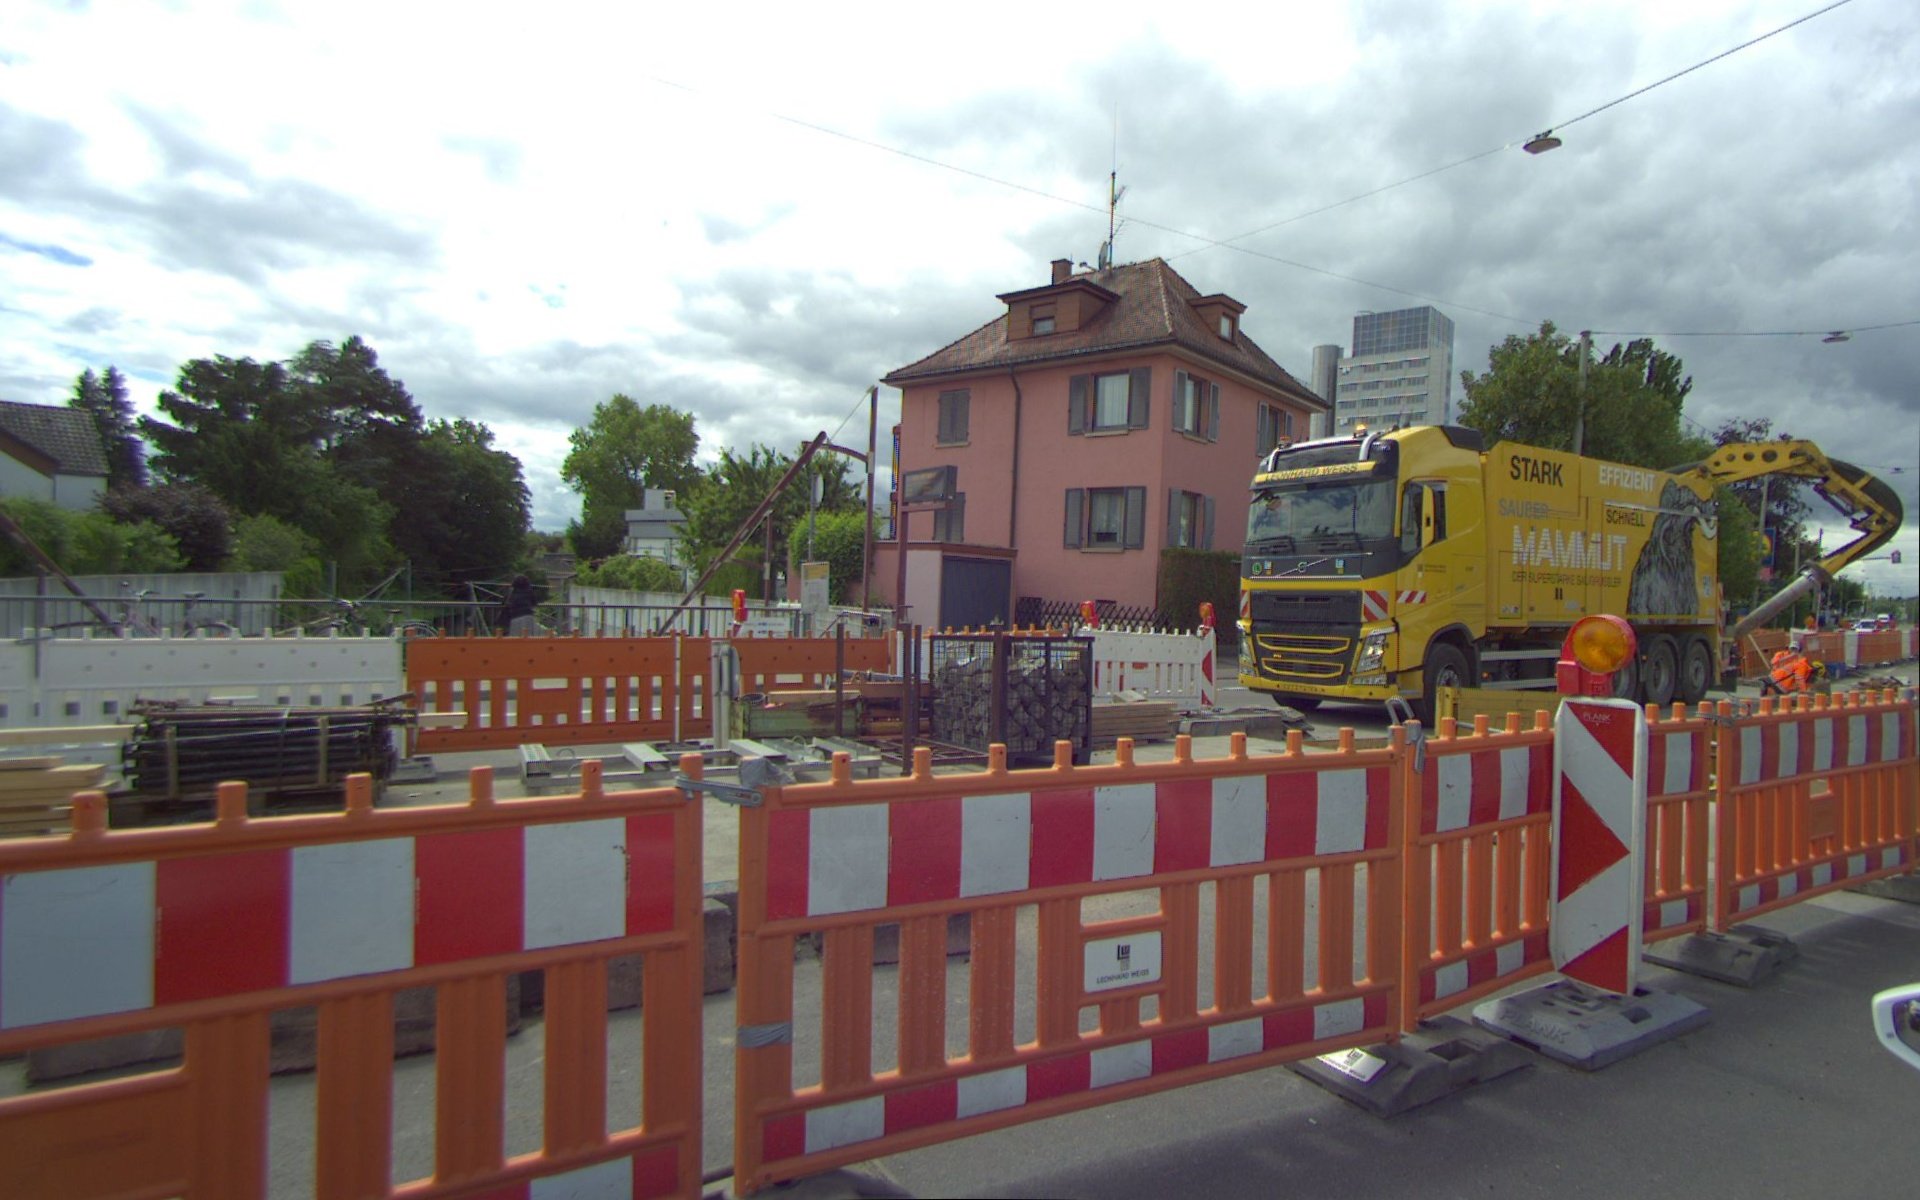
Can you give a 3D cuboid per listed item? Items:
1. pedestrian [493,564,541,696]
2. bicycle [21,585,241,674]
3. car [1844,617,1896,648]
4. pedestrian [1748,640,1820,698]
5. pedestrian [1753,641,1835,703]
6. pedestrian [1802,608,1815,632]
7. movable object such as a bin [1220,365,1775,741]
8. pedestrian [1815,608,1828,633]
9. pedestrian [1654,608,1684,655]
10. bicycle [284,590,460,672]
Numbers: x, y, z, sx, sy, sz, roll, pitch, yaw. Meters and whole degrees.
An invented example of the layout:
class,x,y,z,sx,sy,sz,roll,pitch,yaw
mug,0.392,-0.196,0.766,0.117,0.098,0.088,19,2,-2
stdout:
class,x,y,z,sx,sy,sz,roll,pitch,yaw
pedestrian,-6.609,0.435,14.985,0.578,1.912,0.676,1,1,-28
bicycle,-10.651,0.382,13.002,2.104,1.097,0.536,1,1,-27
car,48.262,1.714,53.251,1.835,1.472,3.975,4,2,44
pedestrian,15.075,1.251,18.394,0.779,1.004,0.642,1,1,-9
pedestrian,14.477,1.243,17.449,0.799,1.004,0.790,1,1,-19
pedestrian,66.991,1.577,79.329,0.674,1.879,0.703,3,1,43
movable object such as a bin,8.846,-0.443,15.541,11.002,4.278,2.575,1,1,-33
pedestrian,67.645,1.618,78.858,0.674,1.879,0.887,3,1,43
pedestrian,25.656,1.135,36.341,0.743,1.624,0.826,3,1,40
bicycle,-8.287,0.439,14.264,2.104,1.097,0.536,1,1,-27
